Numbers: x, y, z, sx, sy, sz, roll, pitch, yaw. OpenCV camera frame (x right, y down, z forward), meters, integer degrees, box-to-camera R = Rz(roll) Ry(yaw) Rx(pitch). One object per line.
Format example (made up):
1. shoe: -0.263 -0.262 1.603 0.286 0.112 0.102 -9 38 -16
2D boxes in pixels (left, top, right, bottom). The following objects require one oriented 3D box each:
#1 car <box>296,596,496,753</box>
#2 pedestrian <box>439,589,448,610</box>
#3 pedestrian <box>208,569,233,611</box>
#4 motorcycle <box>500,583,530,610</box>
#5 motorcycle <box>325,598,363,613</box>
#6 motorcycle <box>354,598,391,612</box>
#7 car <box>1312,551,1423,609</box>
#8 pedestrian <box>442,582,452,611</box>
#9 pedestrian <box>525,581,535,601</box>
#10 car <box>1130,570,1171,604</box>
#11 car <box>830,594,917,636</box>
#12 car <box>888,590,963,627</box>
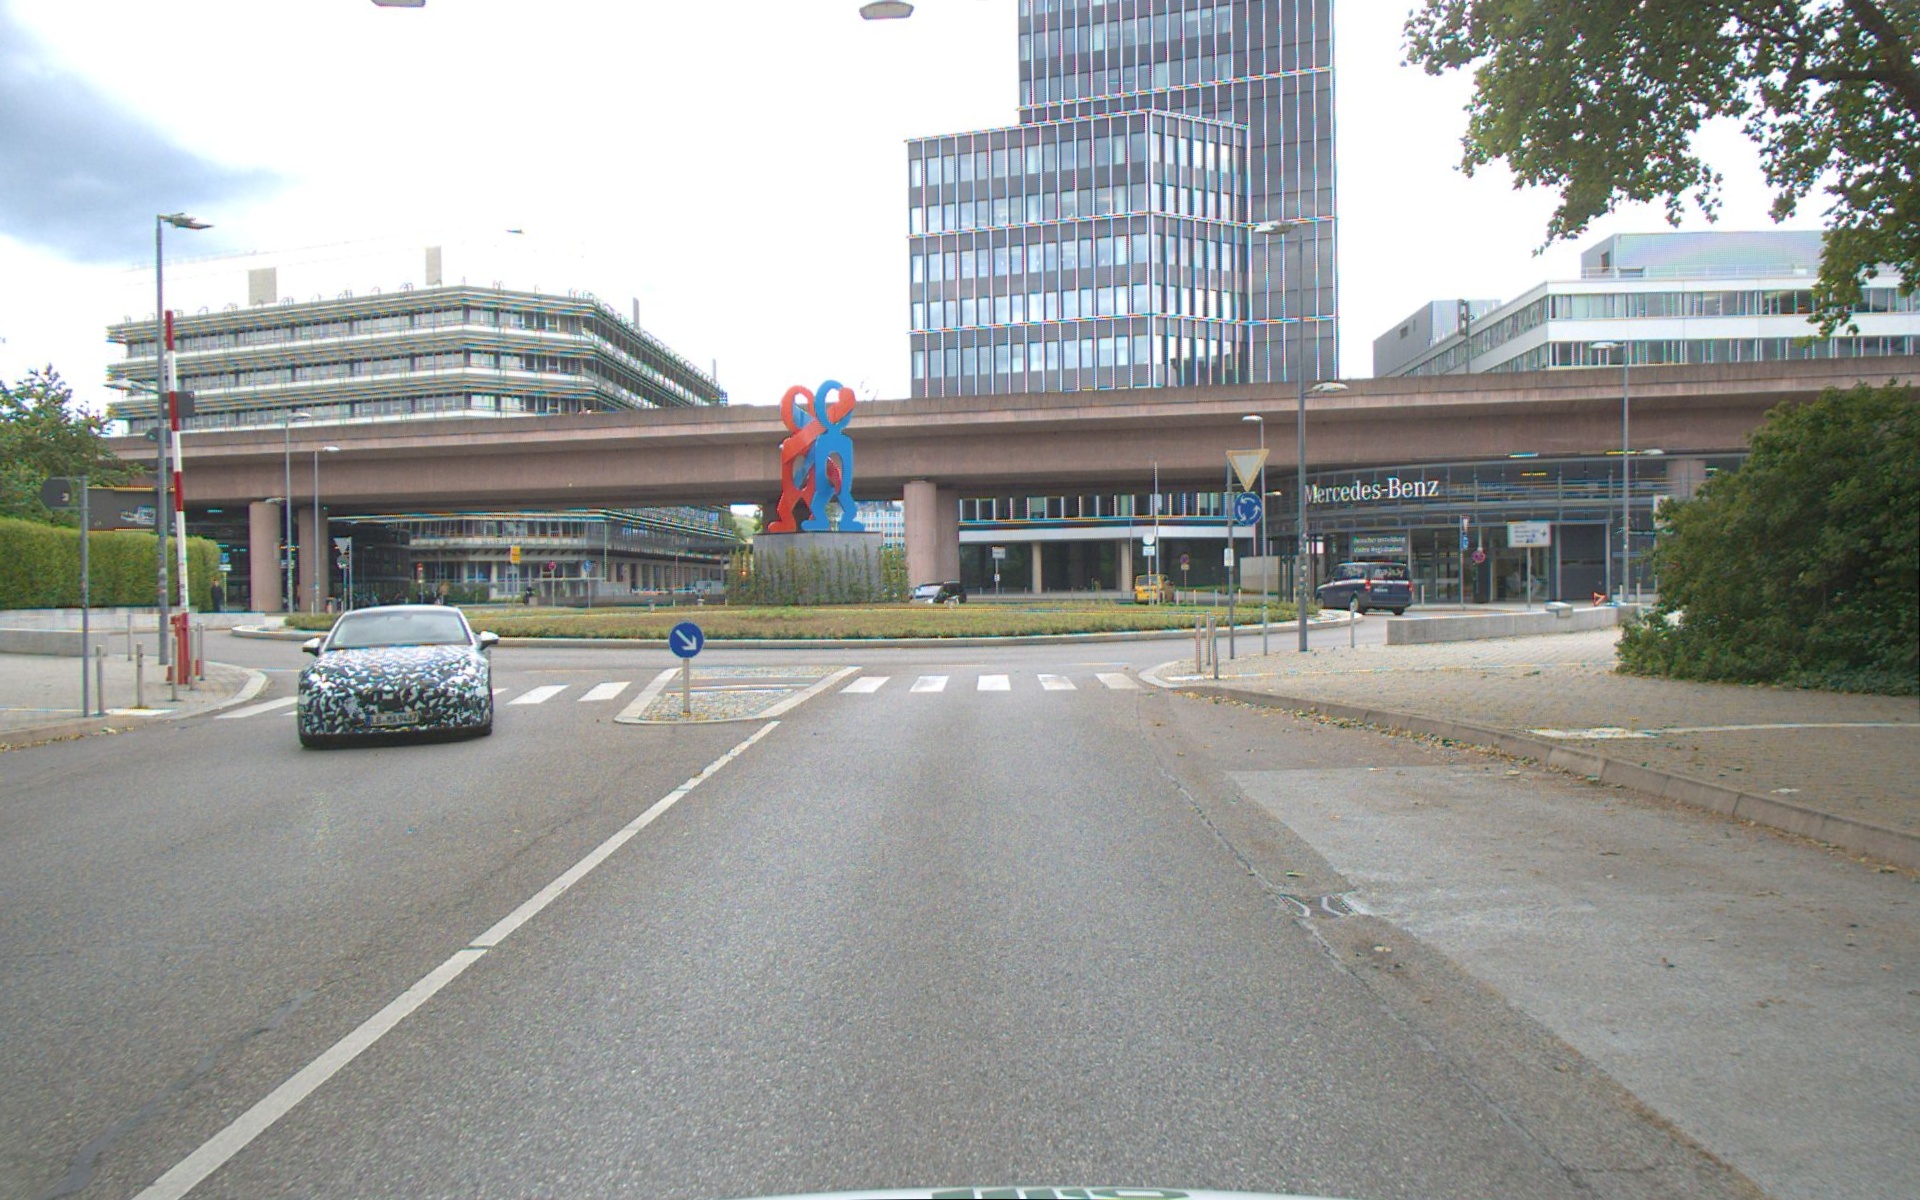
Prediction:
1. car: -6.407 0.734 19.083 1.871 1.478 4.792 -2 1 -17
2. pedestrian: -51.846 -0.045 165.933 0.766 2.049 0.665 0 0 -26
3. pedestrian: -36.051 -0.484 80.634 1.025 2.049 0.597 0 0 -14
4. motorcycle: -20.887 -0.171 77.640 0.654 1.273 1.886 0 0 8
5. motorcycle: -46.982 0.391 126.144 2.597 1.132 1.040 0 0 18
6. motorcycle: -45.795 0.384 128.972 2.597 1.132 1.040 0 0 18
7. car: 14.969 -0.717 61.065 2.235 2.049 4.771 0 0 -11
8. pedestrian: -36.047 -0.258 116.226 0.578 2.049 0.597 0 0 -14
9. pedestrian: -42.886 -0.909 165.035 0.760 2.049 0.670 -1 0 -2
10. car: 11.801 -0.765 102.268 1.951 2.049 4.003 0 0 15
11. car: -4.006 0.689 77.107 3.642 1.959 1.923 0 0 15
12. car: -1.730 0.427 83.517 1.957 1.803 3.991 0 0 31
